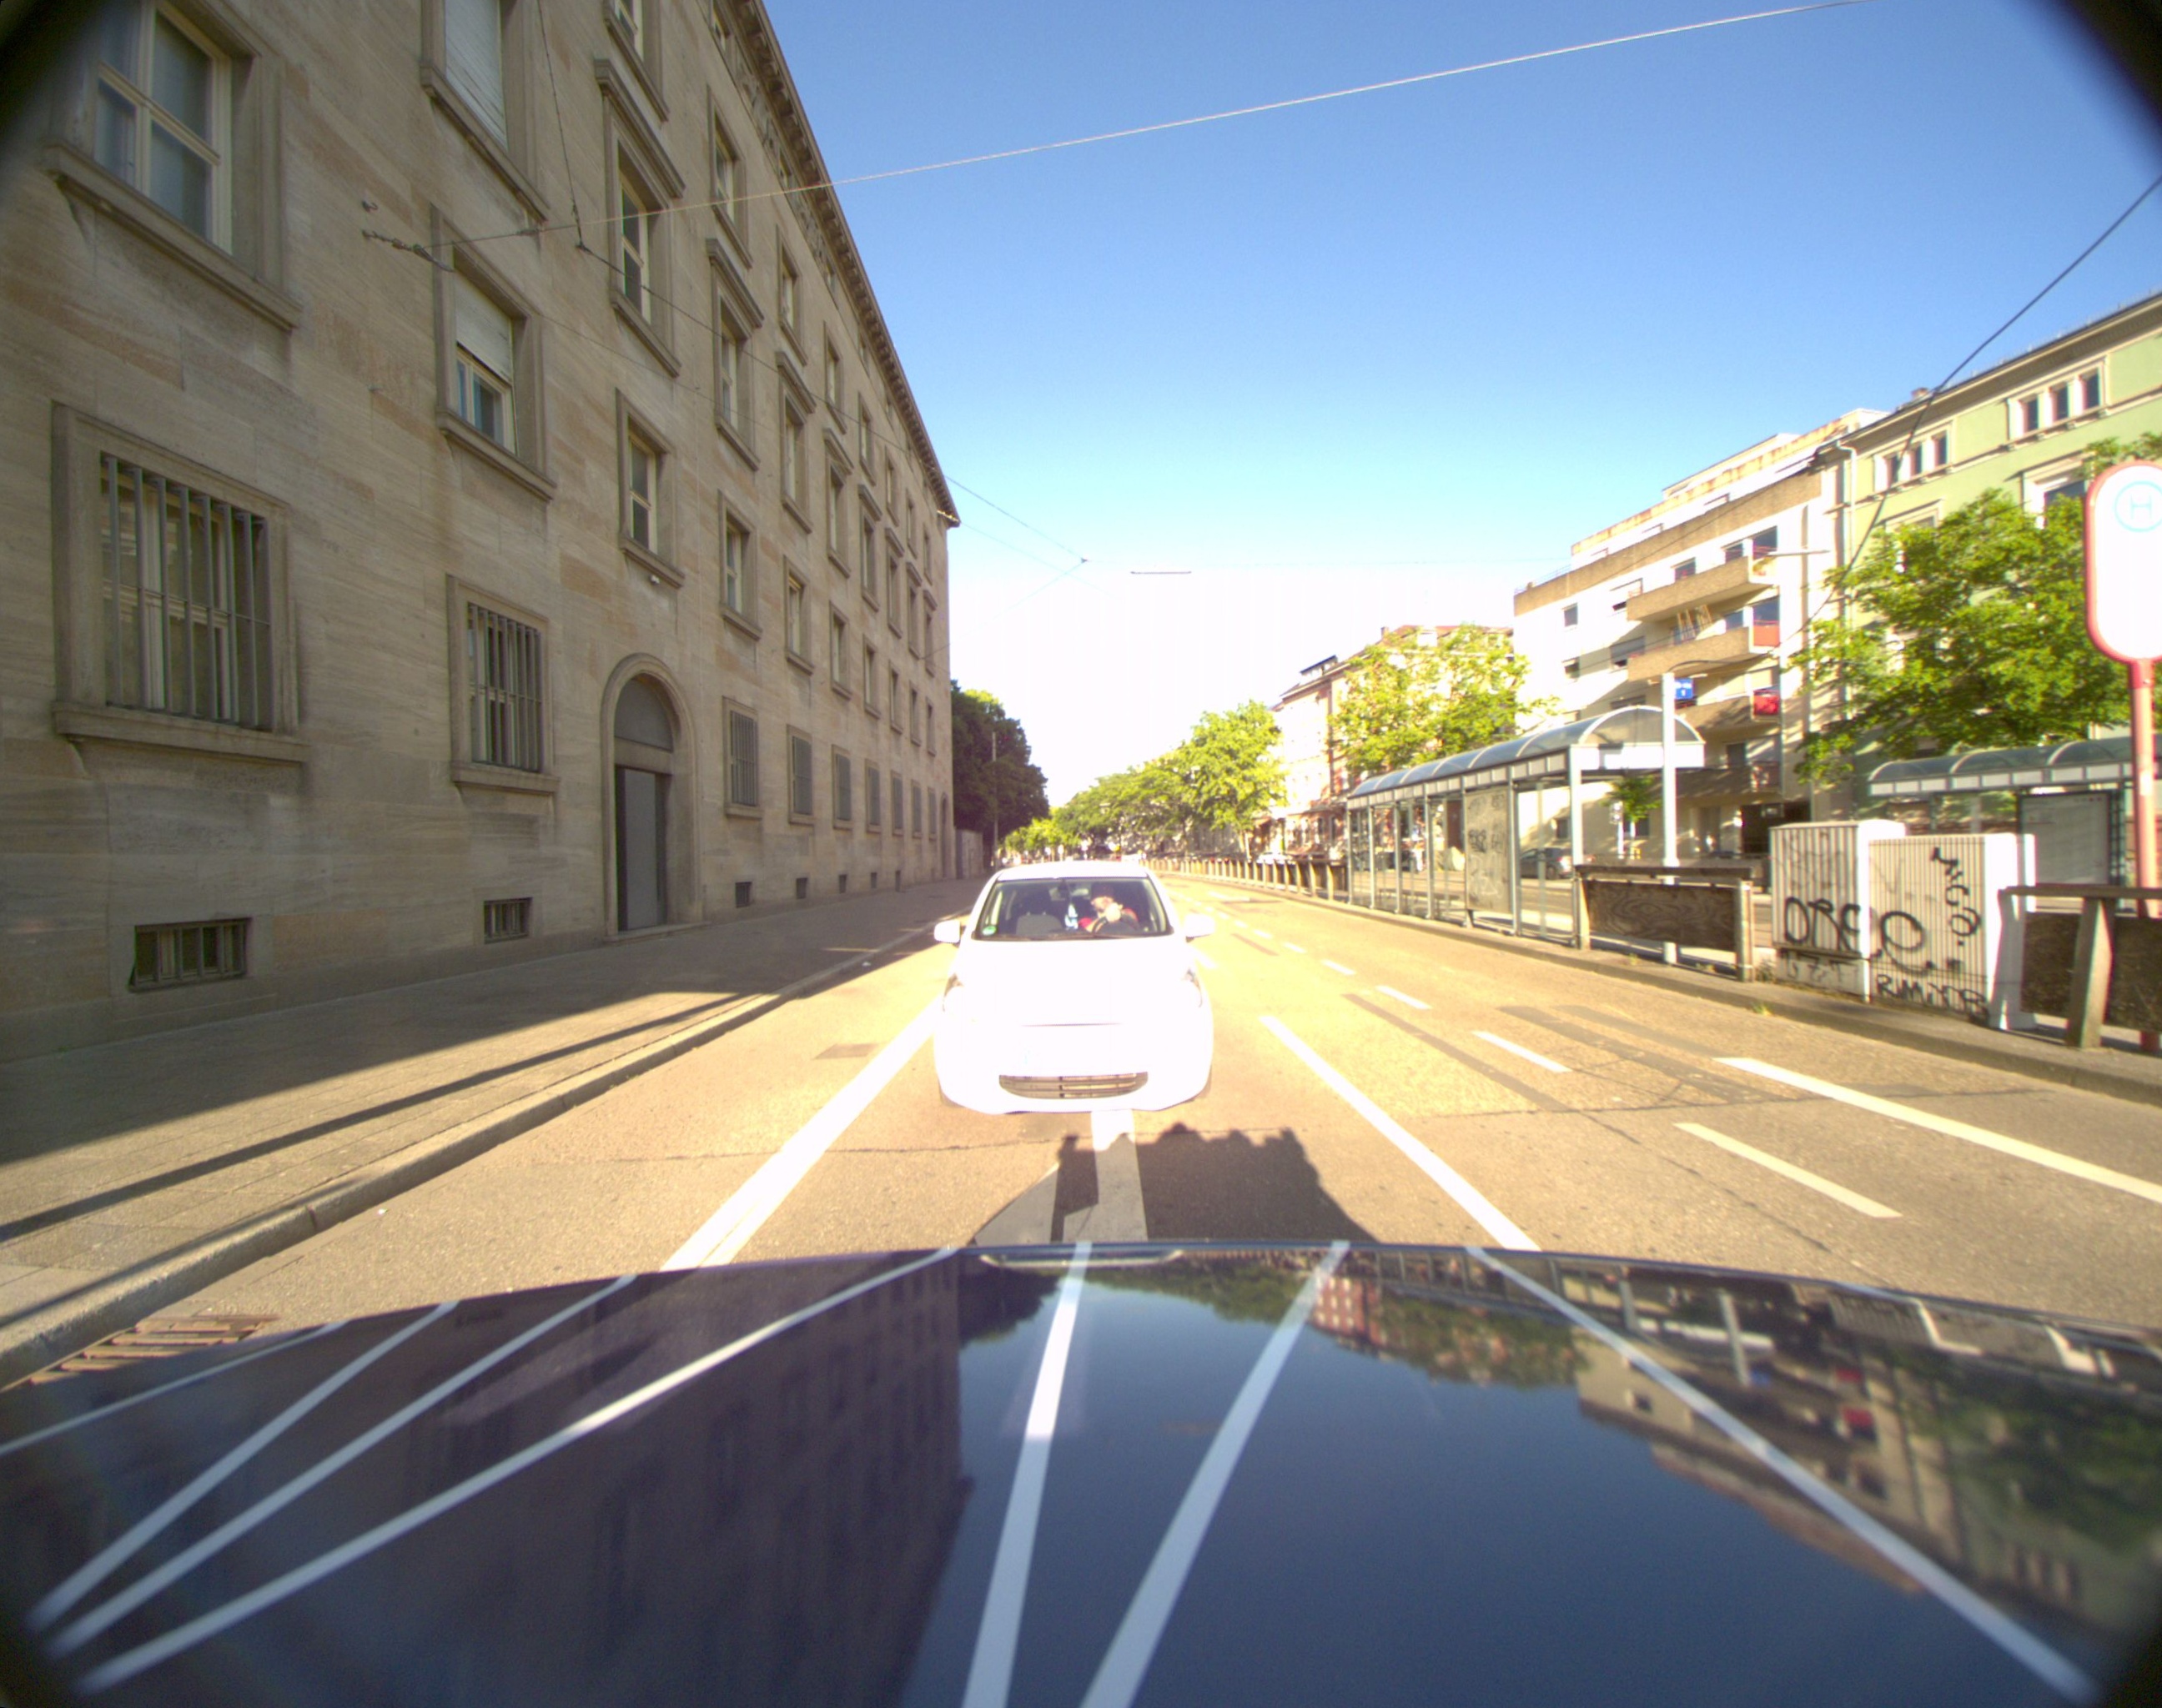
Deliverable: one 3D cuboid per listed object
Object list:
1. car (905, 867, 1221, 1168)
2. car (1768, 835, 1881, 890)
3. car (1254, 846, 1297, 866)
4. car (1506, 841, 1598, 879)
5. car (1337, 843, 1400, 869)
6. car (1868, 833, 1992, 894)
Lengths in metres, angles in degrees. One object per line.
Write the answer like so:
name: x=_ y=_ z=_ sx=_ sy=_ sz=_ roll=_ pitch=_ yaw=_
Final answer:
car: x=-0.071 y=0.894 z=5.810 sx=1.612 sy=1.462 sz=3.631 roll=-2 pitch=0 yaw=1
car: x=23.888 y=0.227 z=24.402 sx=3.605 sy=1.558 sz=1.627 roll=-3 pitch=1 yaw=-29
car: x=16.265 y=0.156 z=63.477 sx=3.607 sy=1.558 sz=1.627 roll=-3 pitch=1 yaw=-42
car: x=20.920 y=0.233 z=33.933 sx=1.631 sy=1.558 sz=3.598 roll=-2 pitch=1 yaw=-5
car: x=19.550 y=0.126 z=51.723 sx=3.599 sy=1.558 sz=1.630 roll=-2 pitch=1 yaw=-7
car: x=24.467 y=0.233 z=21.890 sx=3.605 sy=1.558 sz=1.627 roll=-3 pitch=1 yaw=-29
